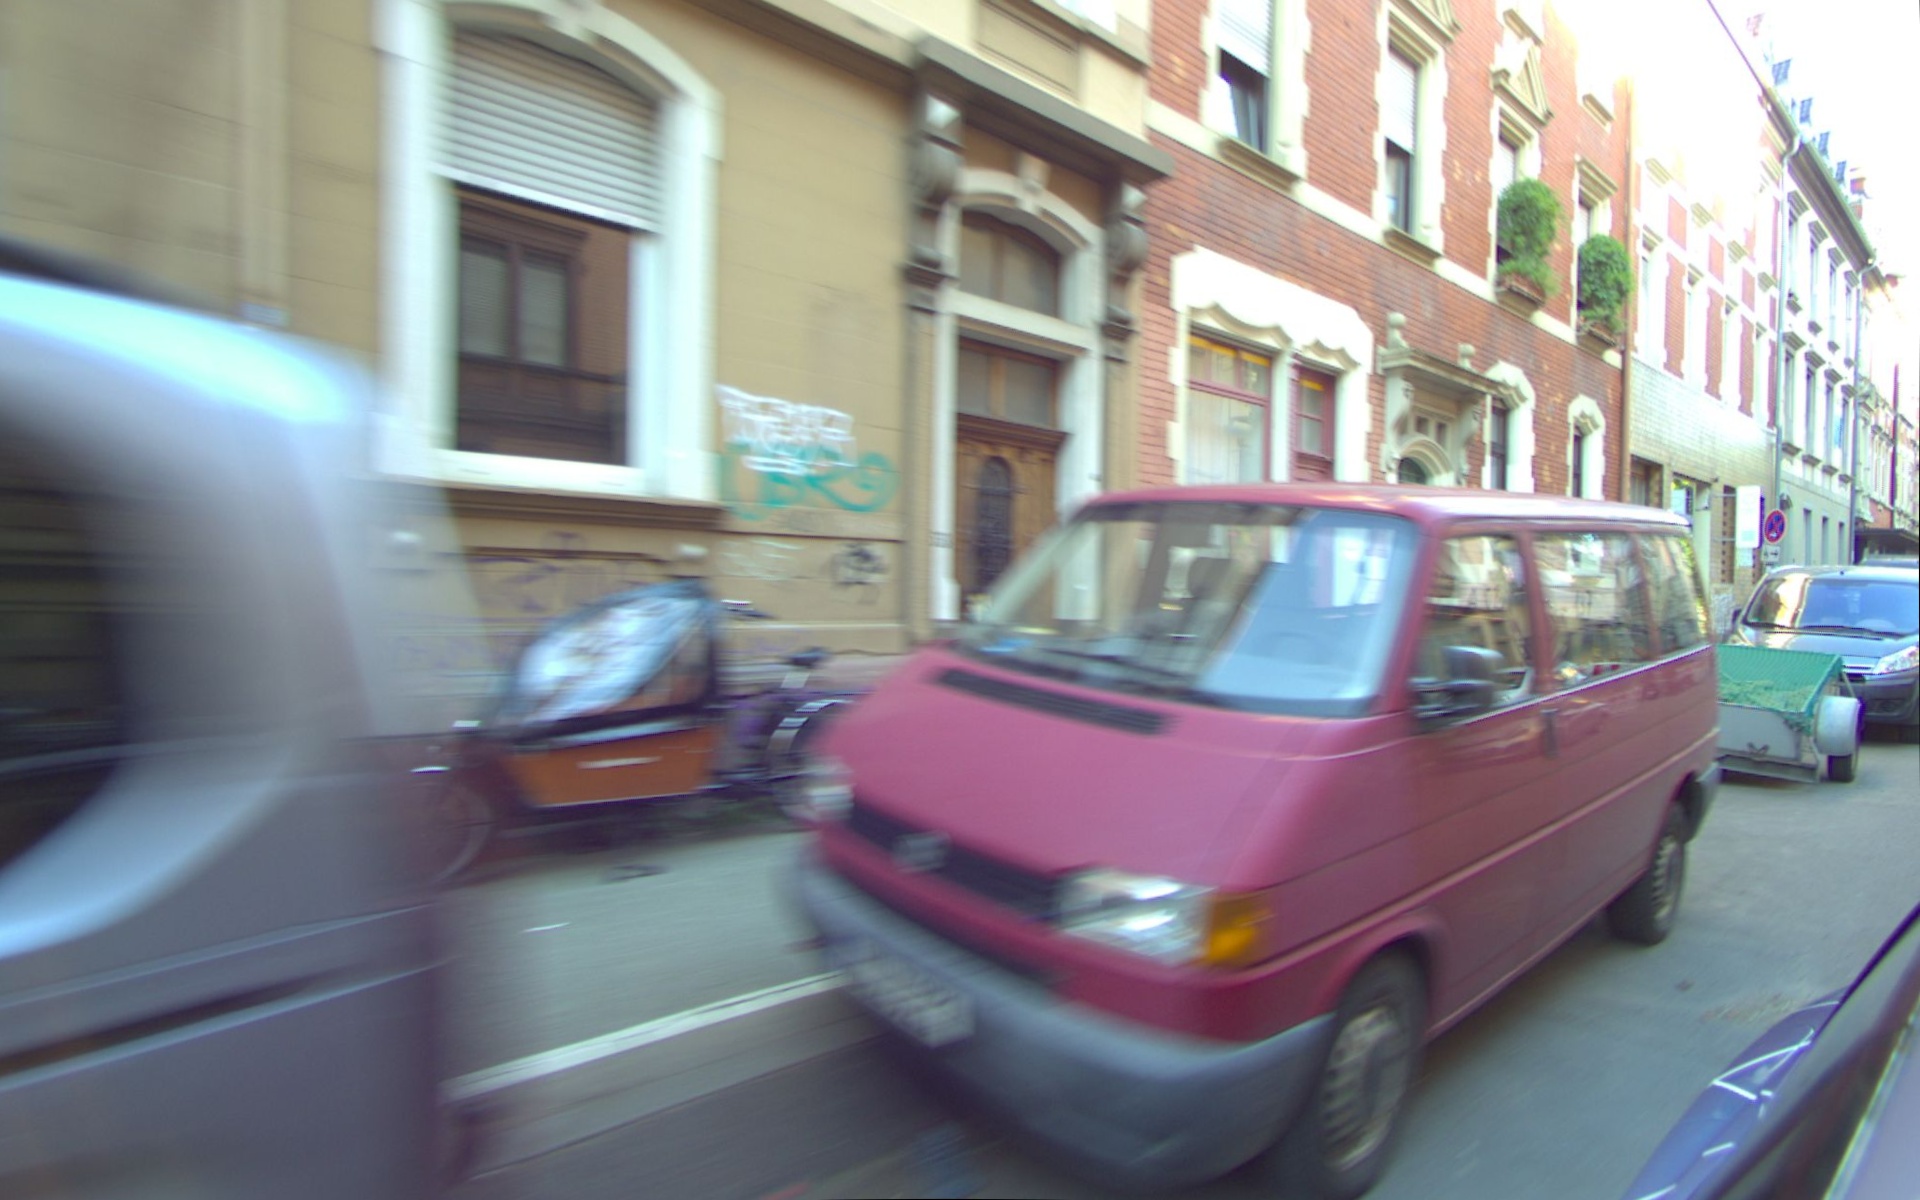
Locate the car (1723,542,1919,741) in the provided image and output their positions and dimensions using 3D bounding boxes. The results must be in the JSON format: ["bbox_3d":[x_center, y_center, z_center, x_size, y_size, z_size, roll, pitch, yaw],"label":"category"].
[{"bbox_3d":[10.914,0.421,12.231,4.497,2.009,1.847,0,-1,-42],"label":"car"}]

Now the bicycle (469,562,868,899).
[{"bbox_3d":[-1.355,0.516,4.867,1.662,1.319,0.729,0,4,-41],"label":"bicycle"}]

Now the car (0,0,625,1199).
[{"bbox_3d":[-2.509,0.465,0.376,4.189,1.986,1.772,0,0,-41],"label":"car"}]

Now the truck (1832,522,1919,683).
[{"bbox_3d":[18.638,0.066,19.382,6.149,2.688,2.152,0,5,-44],"label":"truck"}]

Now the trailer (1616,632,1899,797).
[{"bbox_3d":[7.132,0.891,8.971,2.988,1.127,1.506,0,-2,-43],"label":"trailer"}]

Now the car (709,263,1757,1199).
[{"bbox_3d":[1.538,0.392,4.097,4.659,2.039,1.835,0,0,-41],"label":"car"}]

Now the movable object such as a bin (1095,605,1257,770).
[{"bbox_3d":[1.609,0.610,7.587,0.710,1.074,0.897,0,4,-43],"label":"movable object such as a bin"}]

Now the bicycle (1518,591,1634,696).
[{"bbox_3d":[8.192,0.532,13.427,1.957,1.237,0.670,-1,5,-41],"label":"bicycle"}]
